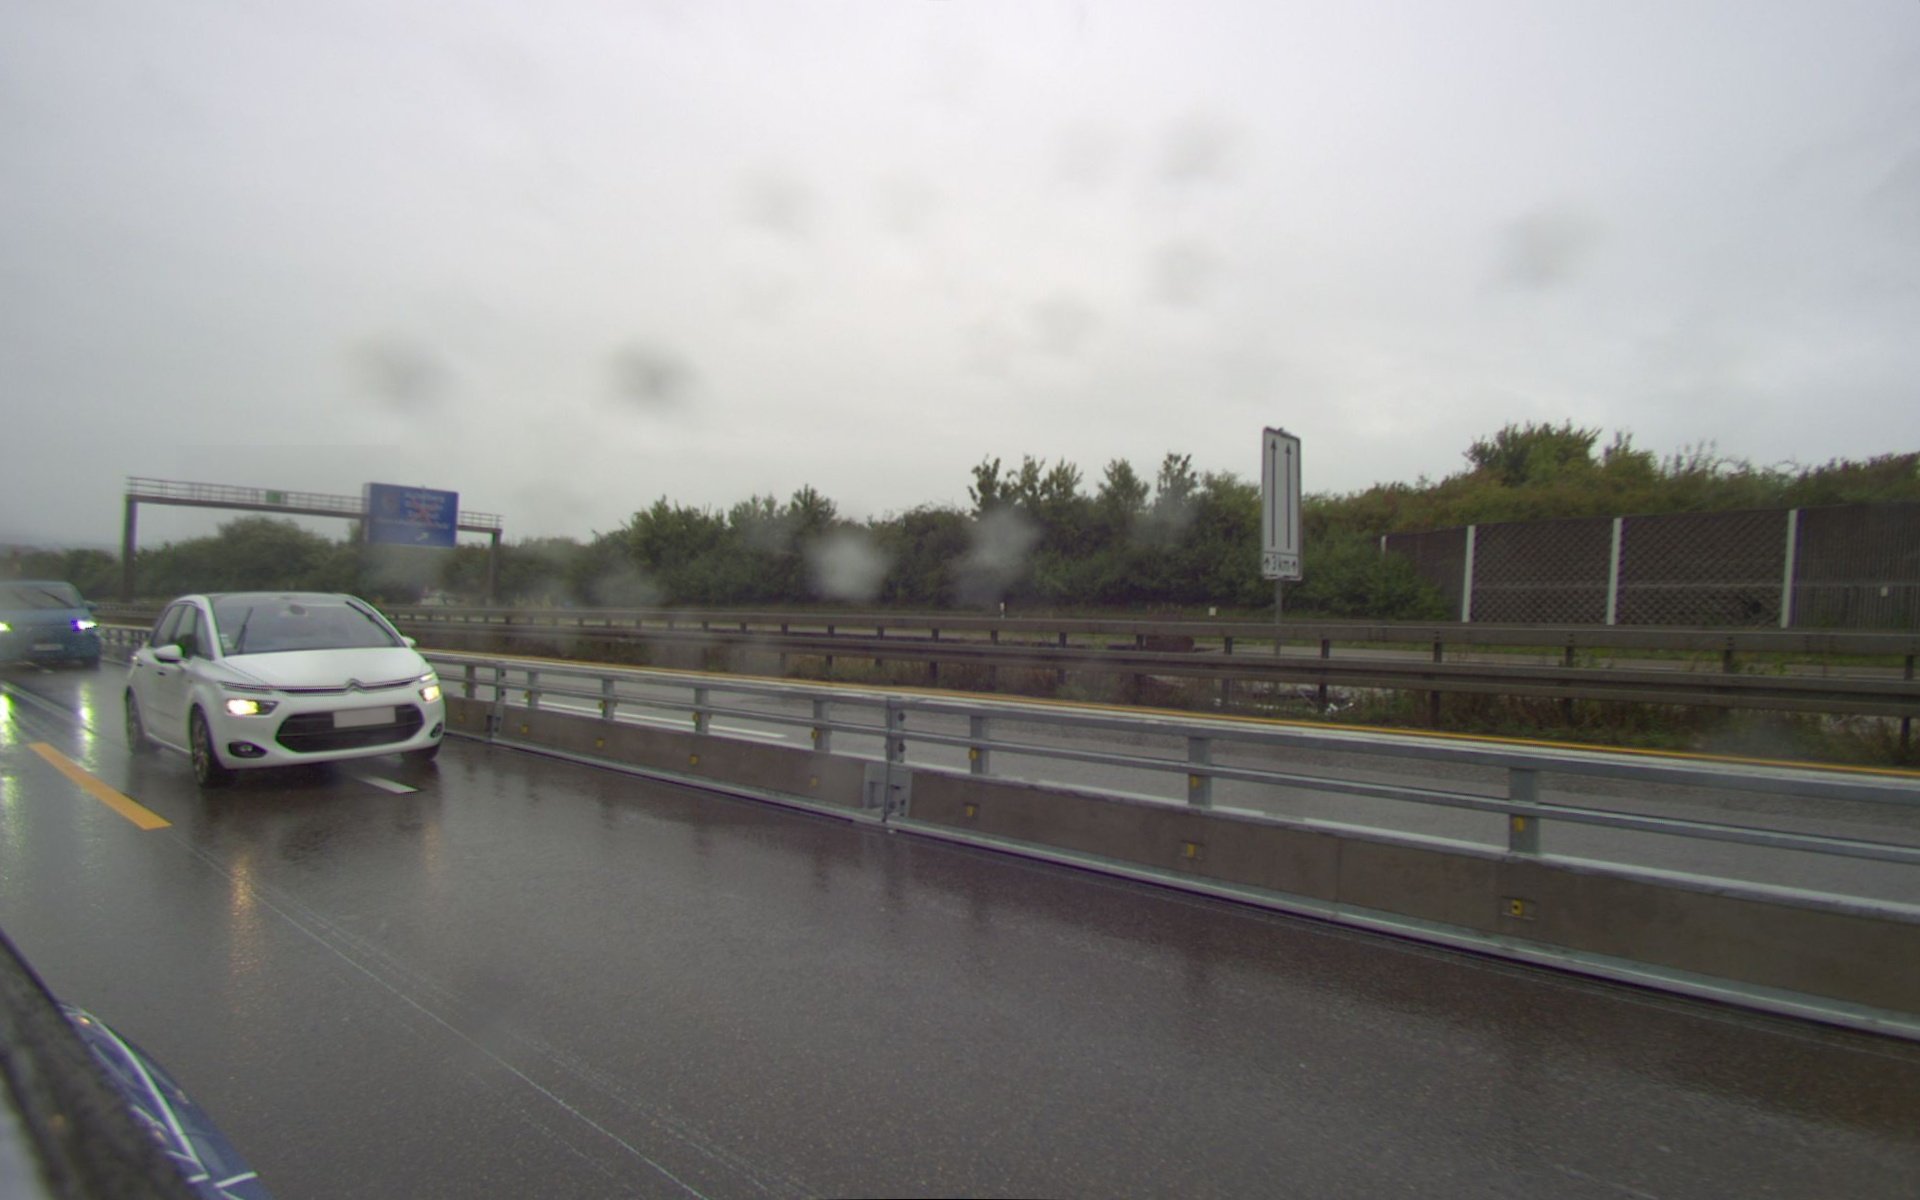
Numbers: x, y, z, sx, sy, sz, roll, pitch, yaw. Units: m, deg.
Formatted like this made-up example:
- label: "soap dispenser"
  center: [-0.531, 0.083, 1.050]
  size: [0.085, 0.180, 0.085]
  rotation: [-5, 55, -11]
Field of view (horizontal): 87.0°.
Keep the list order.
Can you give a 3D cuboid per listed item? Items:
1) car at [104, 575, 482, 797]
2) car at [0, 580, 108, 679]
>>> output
- label: "car"
  center: [-6.412, 0.661, 9.522]
  size: [4.308, 1.608, 1.952]
  rotation: [-2, -1, 42]
- label: "car"
  center: [-21.340, 0.583, 23.017]
  size: [5.561, 2.029, 2.183]
  rotation: [0, 1, 41]
